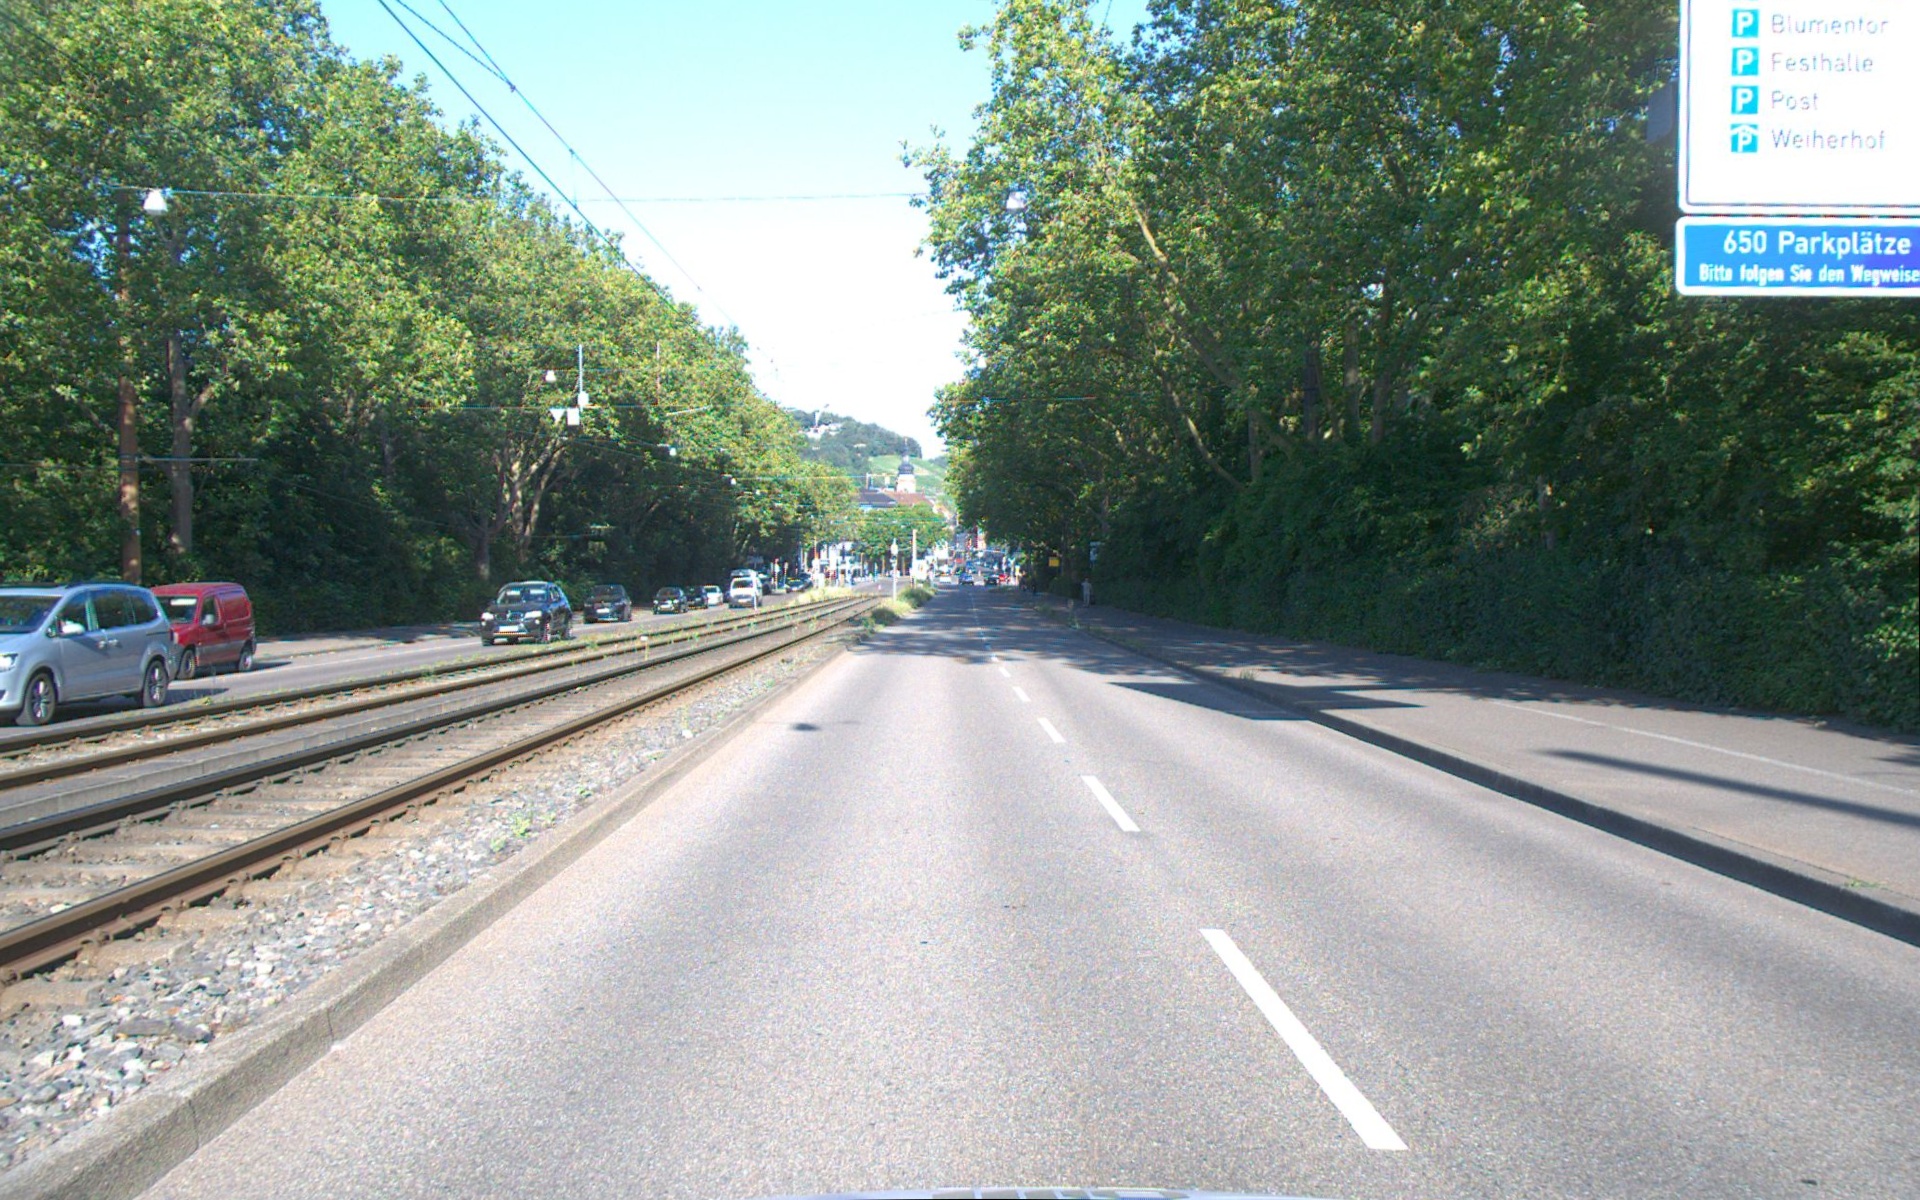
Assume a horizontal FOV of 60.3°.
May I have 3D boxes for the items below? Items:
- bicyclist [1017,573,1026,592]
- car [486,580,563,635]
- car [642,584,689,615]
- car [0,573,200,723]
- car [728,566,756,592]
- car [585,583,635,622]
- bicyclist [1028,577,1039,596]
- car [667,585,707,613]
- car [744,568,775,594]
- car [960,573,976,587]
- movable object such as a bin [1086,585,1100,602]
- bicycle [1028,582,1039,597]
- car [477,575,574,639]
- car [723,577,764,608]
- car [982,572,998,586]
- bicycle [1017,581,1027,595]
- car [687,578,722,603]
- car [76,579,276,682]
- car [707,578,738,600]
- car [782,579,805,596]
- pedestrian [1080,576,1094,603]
[{"bbox_3d":[6.169,-1.747,165.367,0.869,1.805,1.222,0,0,0],"label":"bicyclist"},{"bbox_3d":[-15.733,0.247,59.976,1.707,1.773,4.512,-3,1,-3],"label":"car"},{"bbox_3d":[-16.864,-0.051,94.957,1.953,1.726,4.743,-1,1,-2],"label":"car"},{"bbox_3d":[-11.775,0.574,21.236,1.835,1.694,4.597,-4,1,0],"label":"car"},{"bbox_3d":[-19.288,-1.867,146.562,1.953,2.201,5.812,-1,1,-2],"label":"car"},{"bbox_3d":[-15.883,0.107,75.170,1.708,1.665,3.996,-1,1,-5],"label":"car"},{"bbox_3d":[6.550,-1.230,146.942,0.869,1.667,1.164,0,0,0],"label":"bicyclist"},{"bbox_3d":[-17.777,-0.075,107.916,1.953,1.726,4.743,-1,1,-2],"label":"car"},{"bbox_3d":[-20.365,-1.923,168.200,2.345,2.567,5.899,0,1,0],"label":"car"},{"bbox_3d":[1.245,-3.112,254.866,2.345,2.034,5.305,0,1,0],"label":"car"},{"bbox_3d":[7.602,-0.393,94.558,0.787,0.964,0.656,0,0,3],"label":"movable object such as a bin"},{"bbox_3d":[6.549,-0.953,146.846,0.869,1.344,2.639,0,1,0],"label":"bicycle"},{"bbox_3d":[-12.183,0.161,46.609,1.707,1.651,4.393,-2,1,-3],"label":"car"},{"bbox_3d":[-13.963,-0.488,107.094,1.953,1.876,5.301,-2,1,-1],"label":"car"},{"bbox_3d":[4.512,-3.176,250.032,2.345,2.034,5.305,0,1,0],"label":"car"},{"bbox_3d":[6.193,-1.212,165.670,0.869,1.344,2.639,0,1,0],"label":"bicycle"},{"bbox_3d":[-18.443,-0.712,119.450,1.953,1.726,4.743,-1,1,-2],"label":"car"},{"bbox_3d":[-14.969,0.513,31.873,1.706,1.784,4.683,0,1,-1],"label":"car"},{"bbox_3d":[-18.790,-0.862,131.088,1.953,1.726,4.743,-1,1,-2],"label":"car"},{"bbox_3d":[-16.985,-1.257,168.797,1.953,1.726,4.743,-1,1,-2],"label":"car"},{"bbox_3d":[7.325,-0.614,95.338,0.787,1.573,0.814,0,0,3],"label":"pedestrian"}]
